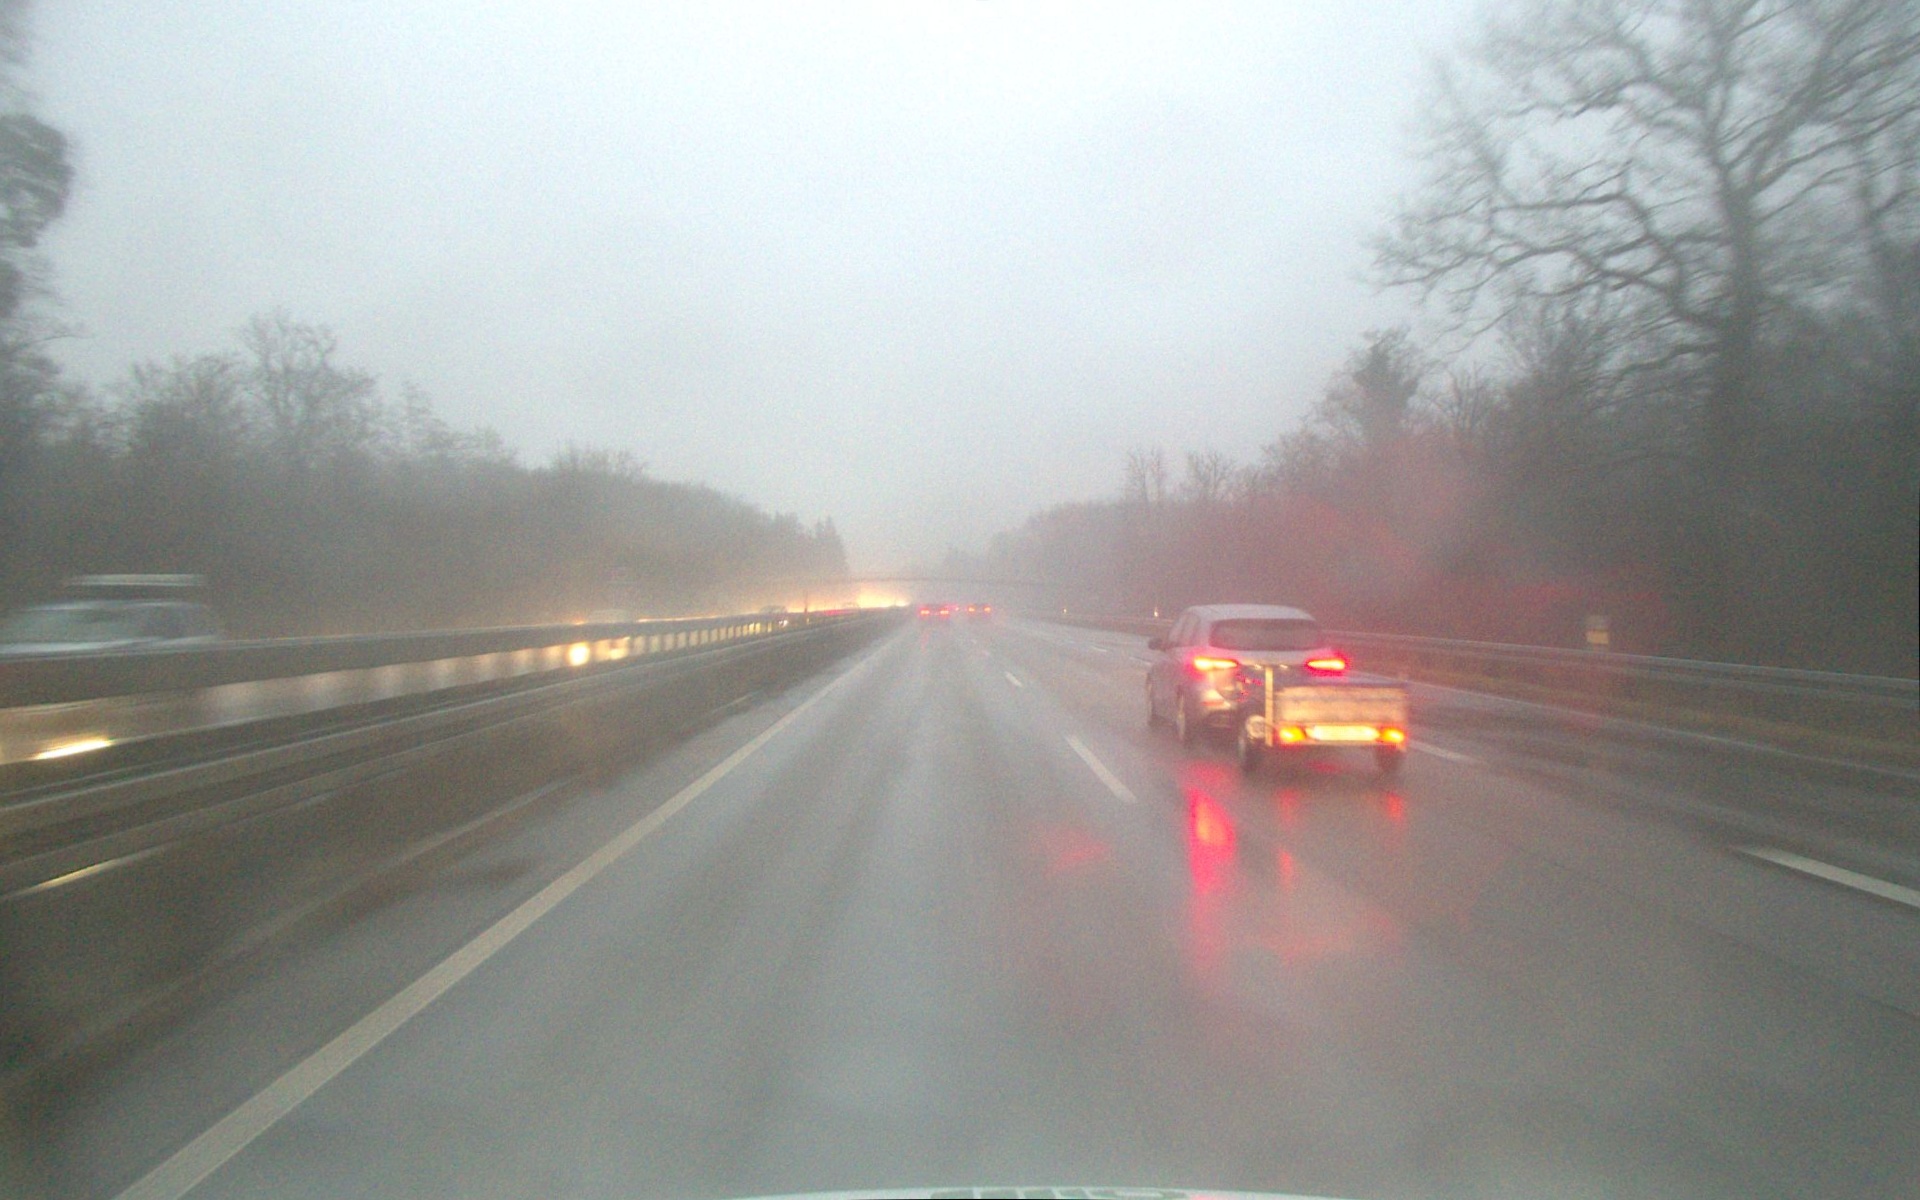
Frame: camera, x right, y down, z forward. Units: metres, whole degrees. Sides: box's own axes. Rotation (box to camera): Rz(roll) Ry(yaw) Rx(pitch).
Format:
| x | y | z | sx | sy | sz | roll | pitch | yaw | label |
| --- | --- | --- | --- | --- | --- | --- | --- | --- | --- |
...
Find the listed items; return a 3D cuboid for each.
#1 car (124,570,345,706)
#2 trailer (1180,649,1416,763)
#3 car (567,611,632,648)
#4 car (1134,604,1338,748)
| x | y | z | sx | sy | sz | roll | pitch | yaw | label |
| --- | --- | --- | --- | --- | --- | --- | --- | --- | --- |
| -12.080 | 0.590 | 27.884 | 1.821 | 2.118 | 4.461 | 0 | 0 | -1 | car |
| 3.283 | 1.009 | 16.579 | 1.712 | 0.941 | 2.950 | -1 | 0 | -1 | trailer |
| -14.021 | 1.130 | 64.540 | 1.669 | 1.375 | 4.155 | 0 | 0 | -1 | car |
| 3.212 | 0.833 | 19.953 | 1.750 | 1.543 | 3.810 | -1 | 0 | -1 | car |
